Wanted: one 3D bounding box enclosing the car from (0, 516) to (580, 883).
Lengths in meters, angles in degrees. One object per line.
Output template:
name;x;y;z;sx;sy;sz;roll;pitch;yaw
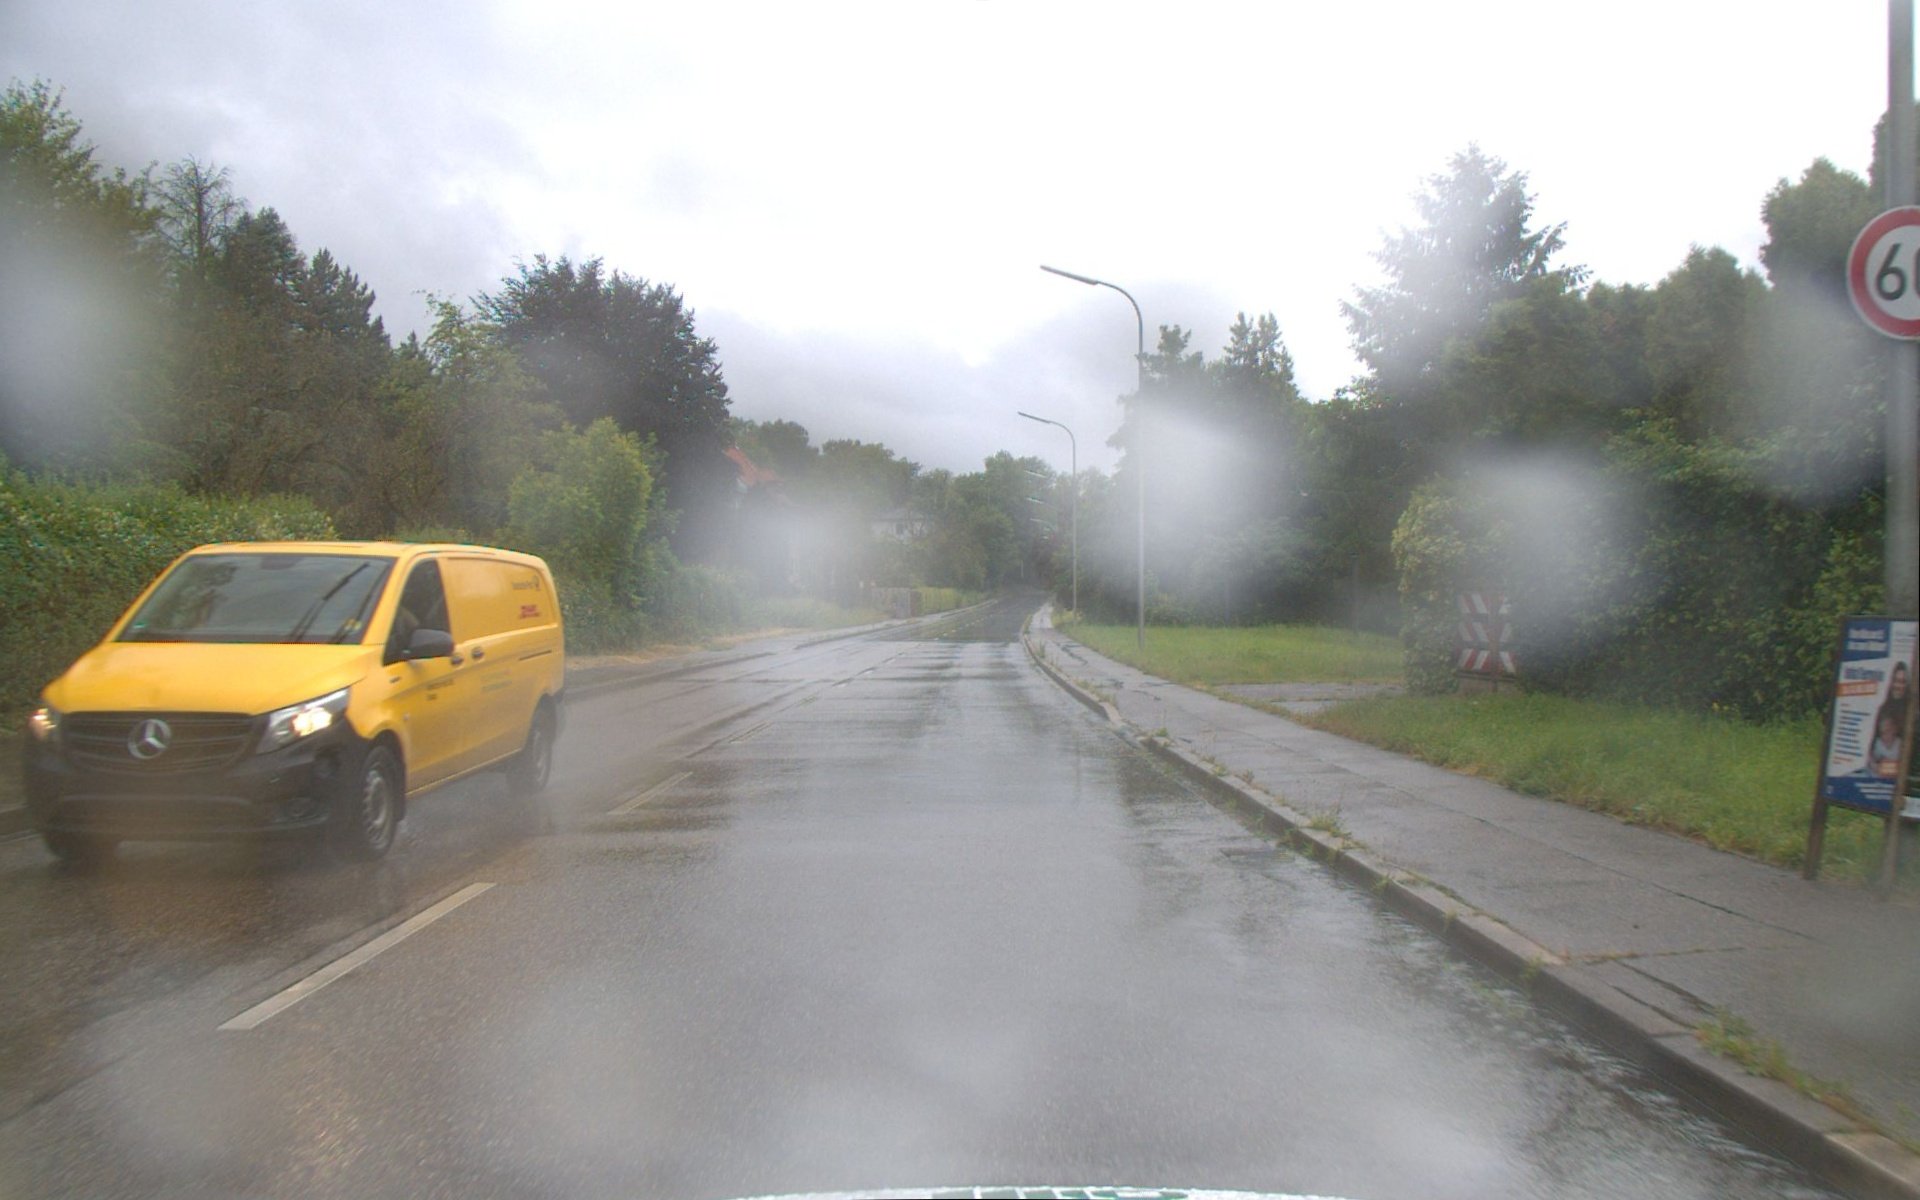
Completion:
car;-4.156;0.519;11.192;1.897;1.904;5.037;-1;0;1
